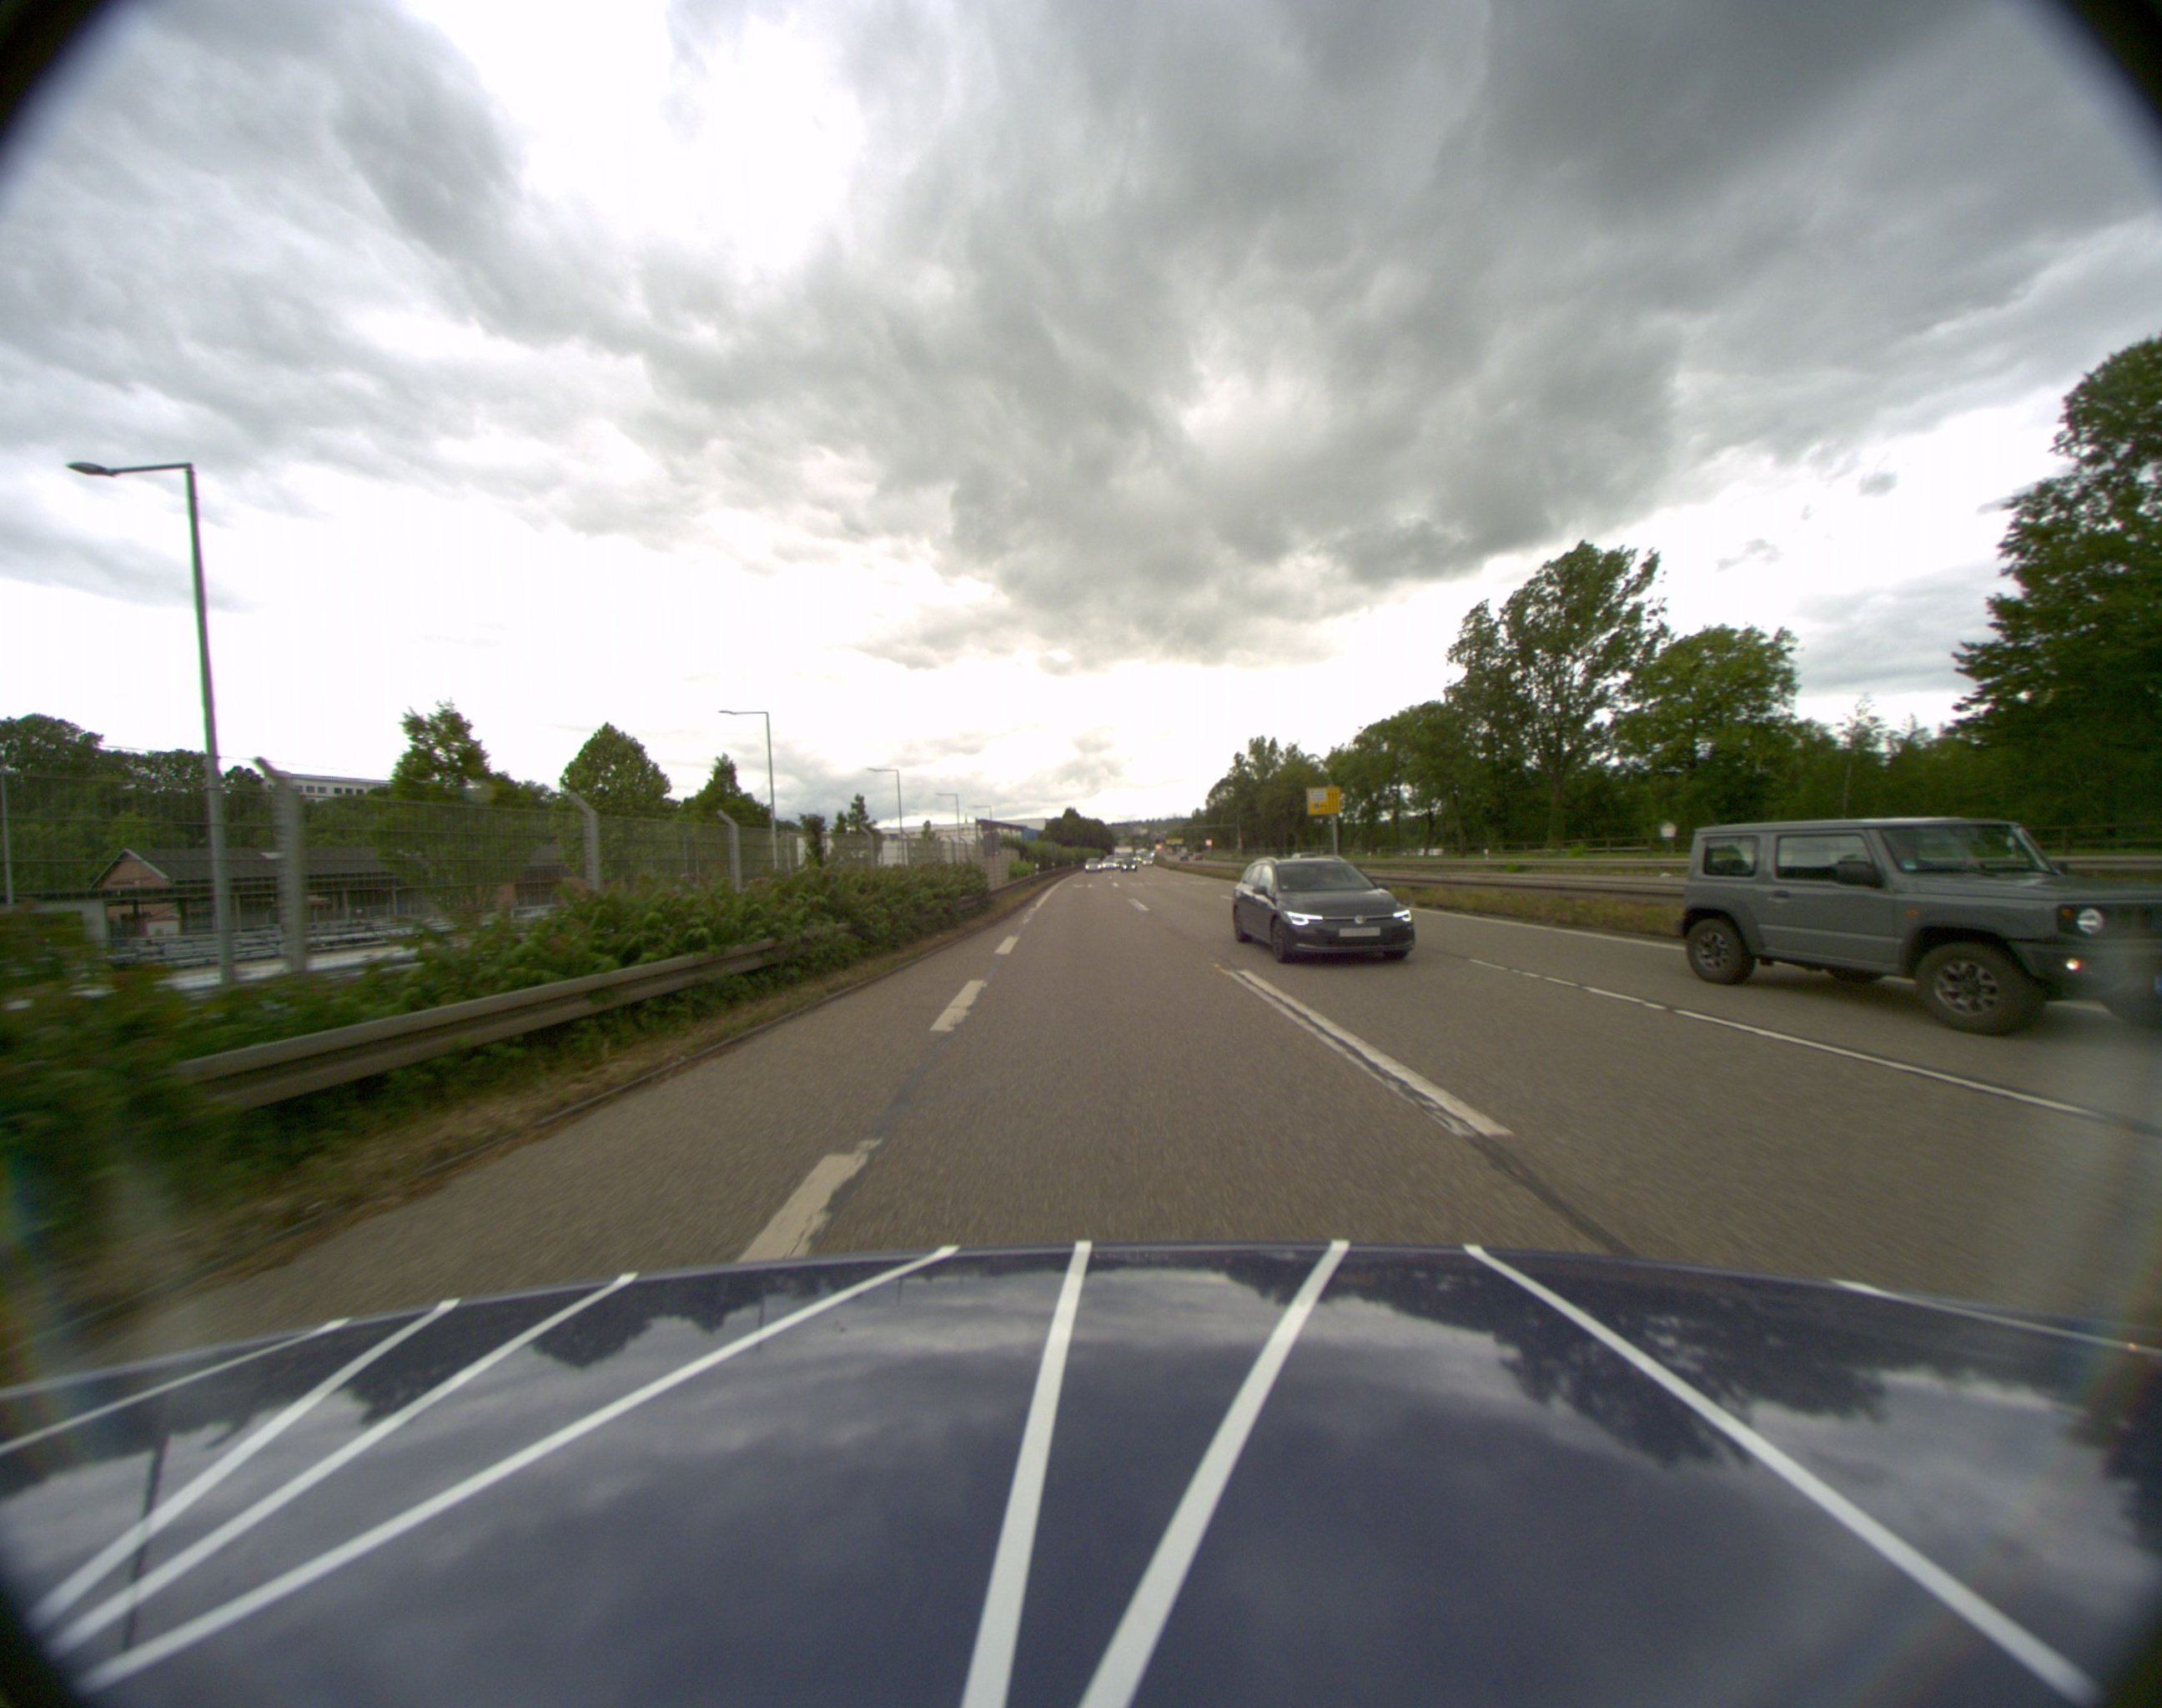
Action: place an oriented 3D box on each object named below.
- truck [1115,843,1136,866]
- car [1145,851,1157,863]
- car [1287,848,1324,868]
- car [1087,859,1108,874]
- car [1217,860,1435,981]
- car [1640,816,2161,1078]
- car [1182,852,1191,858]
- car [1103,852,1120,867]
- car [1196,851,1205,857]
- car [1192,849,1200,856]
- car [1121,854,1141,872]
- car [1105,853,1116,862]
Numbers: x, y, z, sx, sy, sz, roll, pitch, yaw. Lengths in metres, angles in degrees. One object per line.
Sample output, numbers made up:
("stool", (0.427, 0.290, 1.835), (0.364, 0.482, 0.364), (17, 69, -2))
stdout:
("truck", (6.719, 0.074, 113.325), (2.656, 3.120, 12.514), (-4, -1, 5))
("car", (11.338, 0.485, 123.014), (1.883, 1.714, 4.148), (-4, -1, 5))
("car", (16.660, 0.301, 56.561), (1.618, 1.377, 3.733), (-3, 0, 1))
("car", (1.829, 1.350, 82.616), (1.883, 1.530, 4.148), (-4, -1, 5))
("car", (3.549, 0.863, 12.083), (1.849, 1.415, 4.900), (-4, 0, 1))
("car", (7.397, 0.598, 6.879), (1.702, 1.676, 4.000), (-1, 0, 0))
("car", (25.715, 0.171, 185.221), (1.664, 1.415, 3.912), (-2, 0, 3))
("car", (3.889, 0.692, 96.425), (1.883, 1.714, 4.148), (-4, -1, 5))
("car", (29.755, -0.027, 189.142), (1.721, 1.456, 4.381), (-2, 0, 3))
("car", (30.832, -0.408, 203.850), (1.614, 1.872, 4.563), (-2, 0, 3))
("car", (5.371, 0.969, 81.349), (1.883, 1.714, 4.148), (-4, -1, 5))
("car", (6.011, 0.710, 154.997), (1.883, 1.714, 4.148), (-4, -1, 5))
